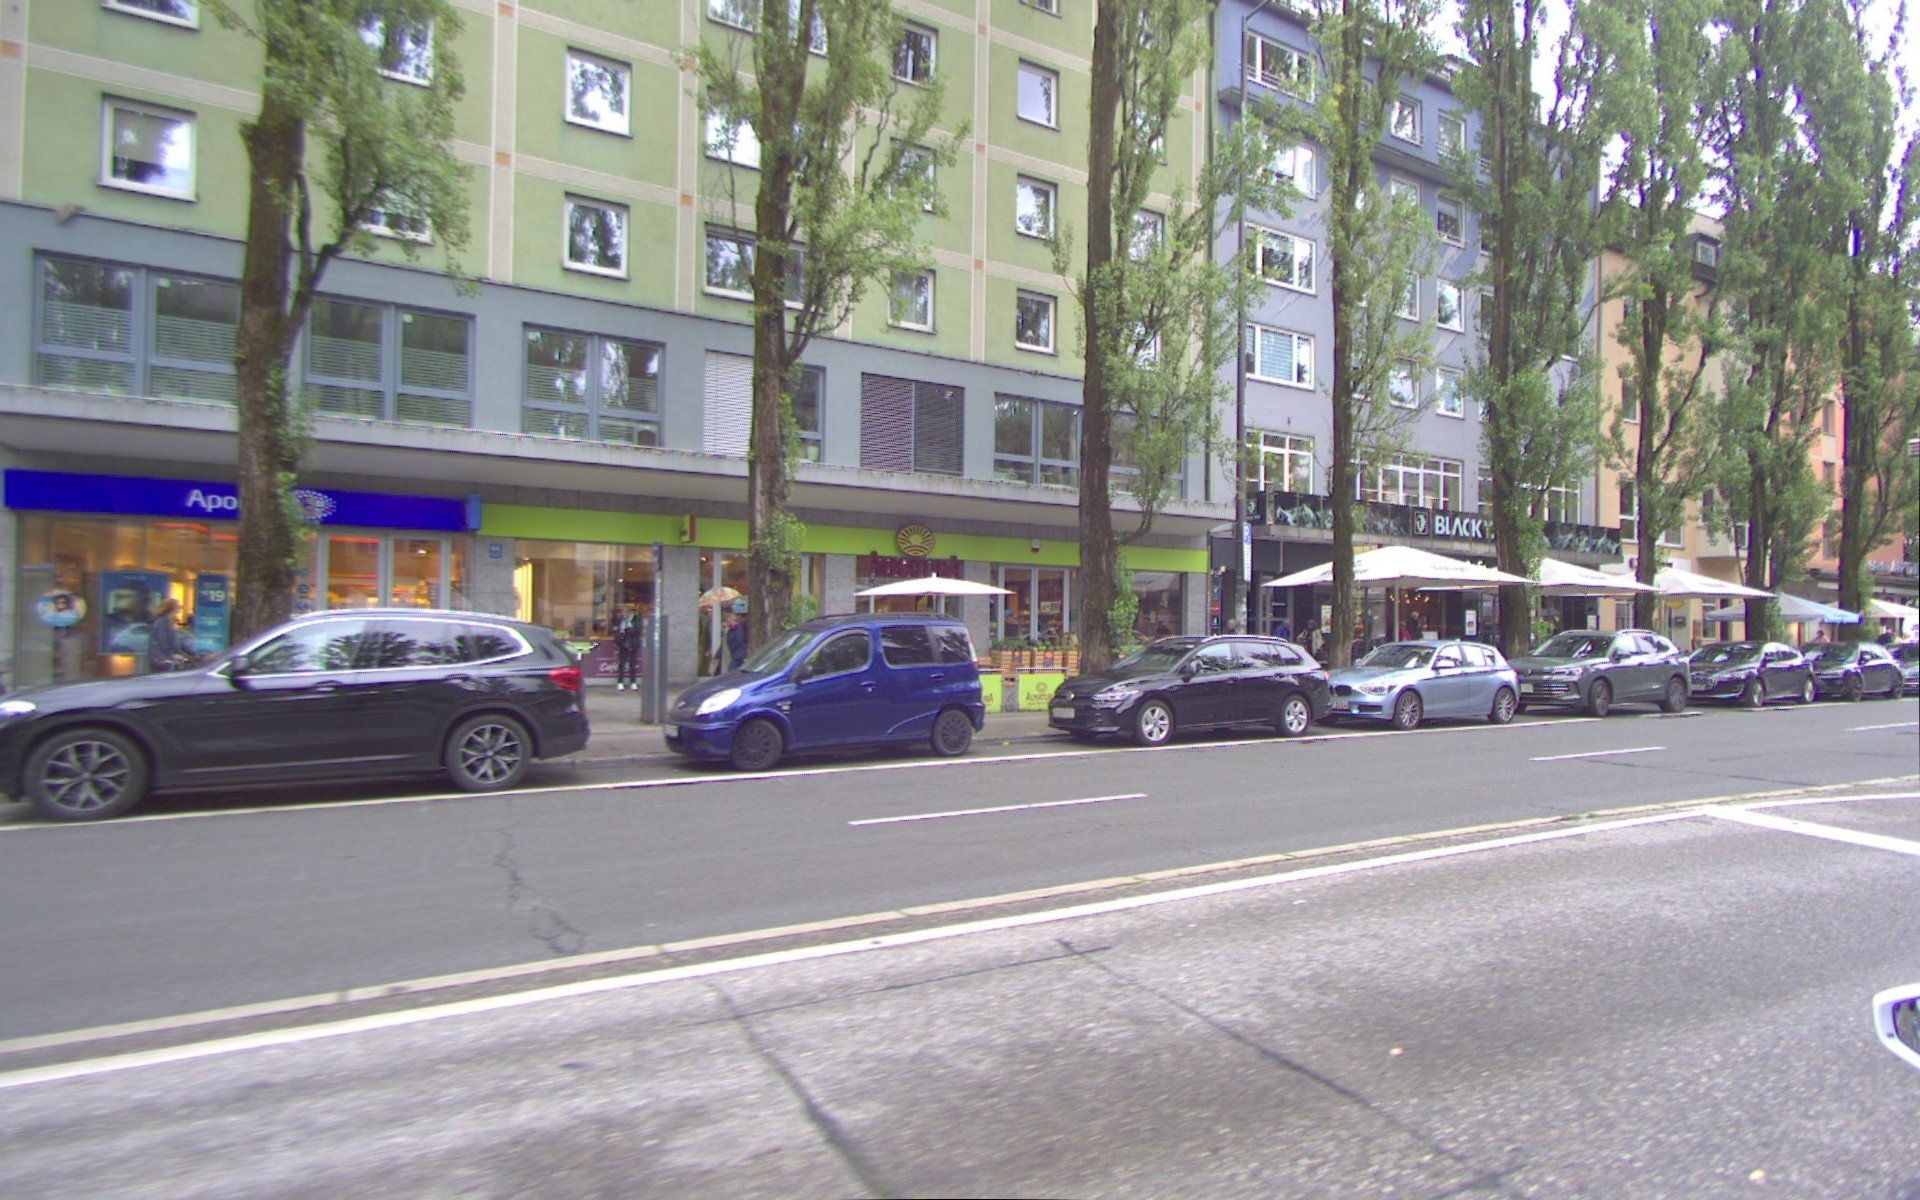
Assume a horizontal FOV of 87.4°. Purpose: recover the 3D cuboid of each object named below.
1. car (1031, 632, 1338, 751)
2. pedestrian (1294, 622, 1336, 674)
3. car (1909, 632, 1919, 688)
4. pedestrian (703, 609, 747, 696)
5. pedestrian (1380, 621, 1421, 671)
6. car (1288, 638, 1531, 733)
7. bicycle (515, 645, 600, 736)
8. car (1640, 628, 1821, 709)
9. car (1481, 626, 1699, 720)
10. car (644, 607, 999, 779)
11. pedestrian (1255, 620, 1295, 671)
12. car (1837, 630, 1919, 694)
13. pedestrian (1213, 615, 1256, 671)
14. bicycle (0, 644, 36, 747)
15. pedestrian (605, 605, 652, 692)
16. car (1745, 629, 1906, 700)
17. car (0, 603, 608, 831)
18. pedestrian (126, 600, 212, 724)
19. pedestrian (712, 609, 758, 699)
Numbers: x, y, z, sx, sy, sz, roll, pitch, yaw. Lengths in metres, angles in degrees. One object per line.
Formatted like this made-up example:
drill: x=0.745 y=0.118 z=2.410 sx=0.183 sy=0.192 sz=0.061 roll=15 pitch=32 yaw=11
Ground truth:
car: x=3.315 y=1.244 z=14.644 sx=4.299 sy=1.508 sz=1.790 roll=1 pitch=-3 yaw=-30
pedestrian: x=10.057 y=1.344 z=28.484 sx=0.755 sy=1.428 sz=0.797 roll=2 pitch=0 yaw=-17
car: x=31.374 y=1.835 z=31.035 sx=4.071 sy=1.687 sz=1.858 roll=1 pitch=-3 yaw=-30
pedestrian: x=-4.764 y=1.063 z=20.374 sx=0.666 sy=1.708 sz=0.753 roll=2 pitch=-2 yaw=-28
pedestrian: x=12.798 y=1.330 z=29.203 sx=0.792 sy=1.428 sz=0.760 roll=2 pitch=0 yaw=-34
car: x=7.723 y=1.390 z=17.182 sx=4.094 sy=1.444 sz=1.726 roll=1 pitch=-3 yaw=-30
bicycle: x=-5.882 y=1.268 z=14.631 sx=0.712 sy=1.110 sz=1.933 roll=1 pitch=1 yaw=-35
car: x=17.672 y=1.526 z=23.005 sx=4.071 sy=1.687 sz=1.858 roll=1 pitch=-3 yaw=-30
car: x=12.592 y=1.408 z=20.048 sx=4.348 sy=1.687 sz=1.858 roll=1 pitch=-3 yaw=-30
car: x=-1.597 y=1.028 z=12.033 sx=3.880 sy=1.743 sz=1.700 roll=1 pitch=-3 yaw=-33
pedestrian: x=9.158 y=1.318 z=29.254 sx=0.755 sy=1.428 sz=0.797 roll=2 pitch=0 yaw=-17
car: x=26.691 y=1.716 z=28.219 sx=4.071 sy=1.687 sz=1.858 roll=1 pitch=-3 yaw=-30
pedestrian: x=7.344 y=1.141 z=26.875 sx=0.792 sy=1.428 sz=0.760 roll=2 pitch=0 yaw=-34
bicycle: x=-11.242 y=1.108 z=11.323 sx=0.710 sy=1.110 sz=1.862 roll=1 pitch=1 yaw=-26
pedestrian: x=-6.650 y=0.976 z=20.162 sx=0.749 sy=1.708 sz=0.670 roll=2 pitch=-2 yaw=-28
car: x=22.155 y=1.617 z=25.687 sx=4.071 sy=1.687 sz=1.858 roll=1 pitch=-3 yaw=-30
car: x=-5.808 y=0.947 z=9.297 sx=4.556 sy=1.686 sz=1.858 roll=1 pitch=-3 yaw=-30
pedestrian: x=-11.295 y=0.876 z=14.373 sx=0.775 sy=1.708 sz=0.753 roll=2 pitch=-2 yaw=-28
pedestrian: x=-4.411 y=1.055 z=19.681 sx=0.666 sy=1.708 sz=0.753 roll=2 pitch=-2 yaw=-28
